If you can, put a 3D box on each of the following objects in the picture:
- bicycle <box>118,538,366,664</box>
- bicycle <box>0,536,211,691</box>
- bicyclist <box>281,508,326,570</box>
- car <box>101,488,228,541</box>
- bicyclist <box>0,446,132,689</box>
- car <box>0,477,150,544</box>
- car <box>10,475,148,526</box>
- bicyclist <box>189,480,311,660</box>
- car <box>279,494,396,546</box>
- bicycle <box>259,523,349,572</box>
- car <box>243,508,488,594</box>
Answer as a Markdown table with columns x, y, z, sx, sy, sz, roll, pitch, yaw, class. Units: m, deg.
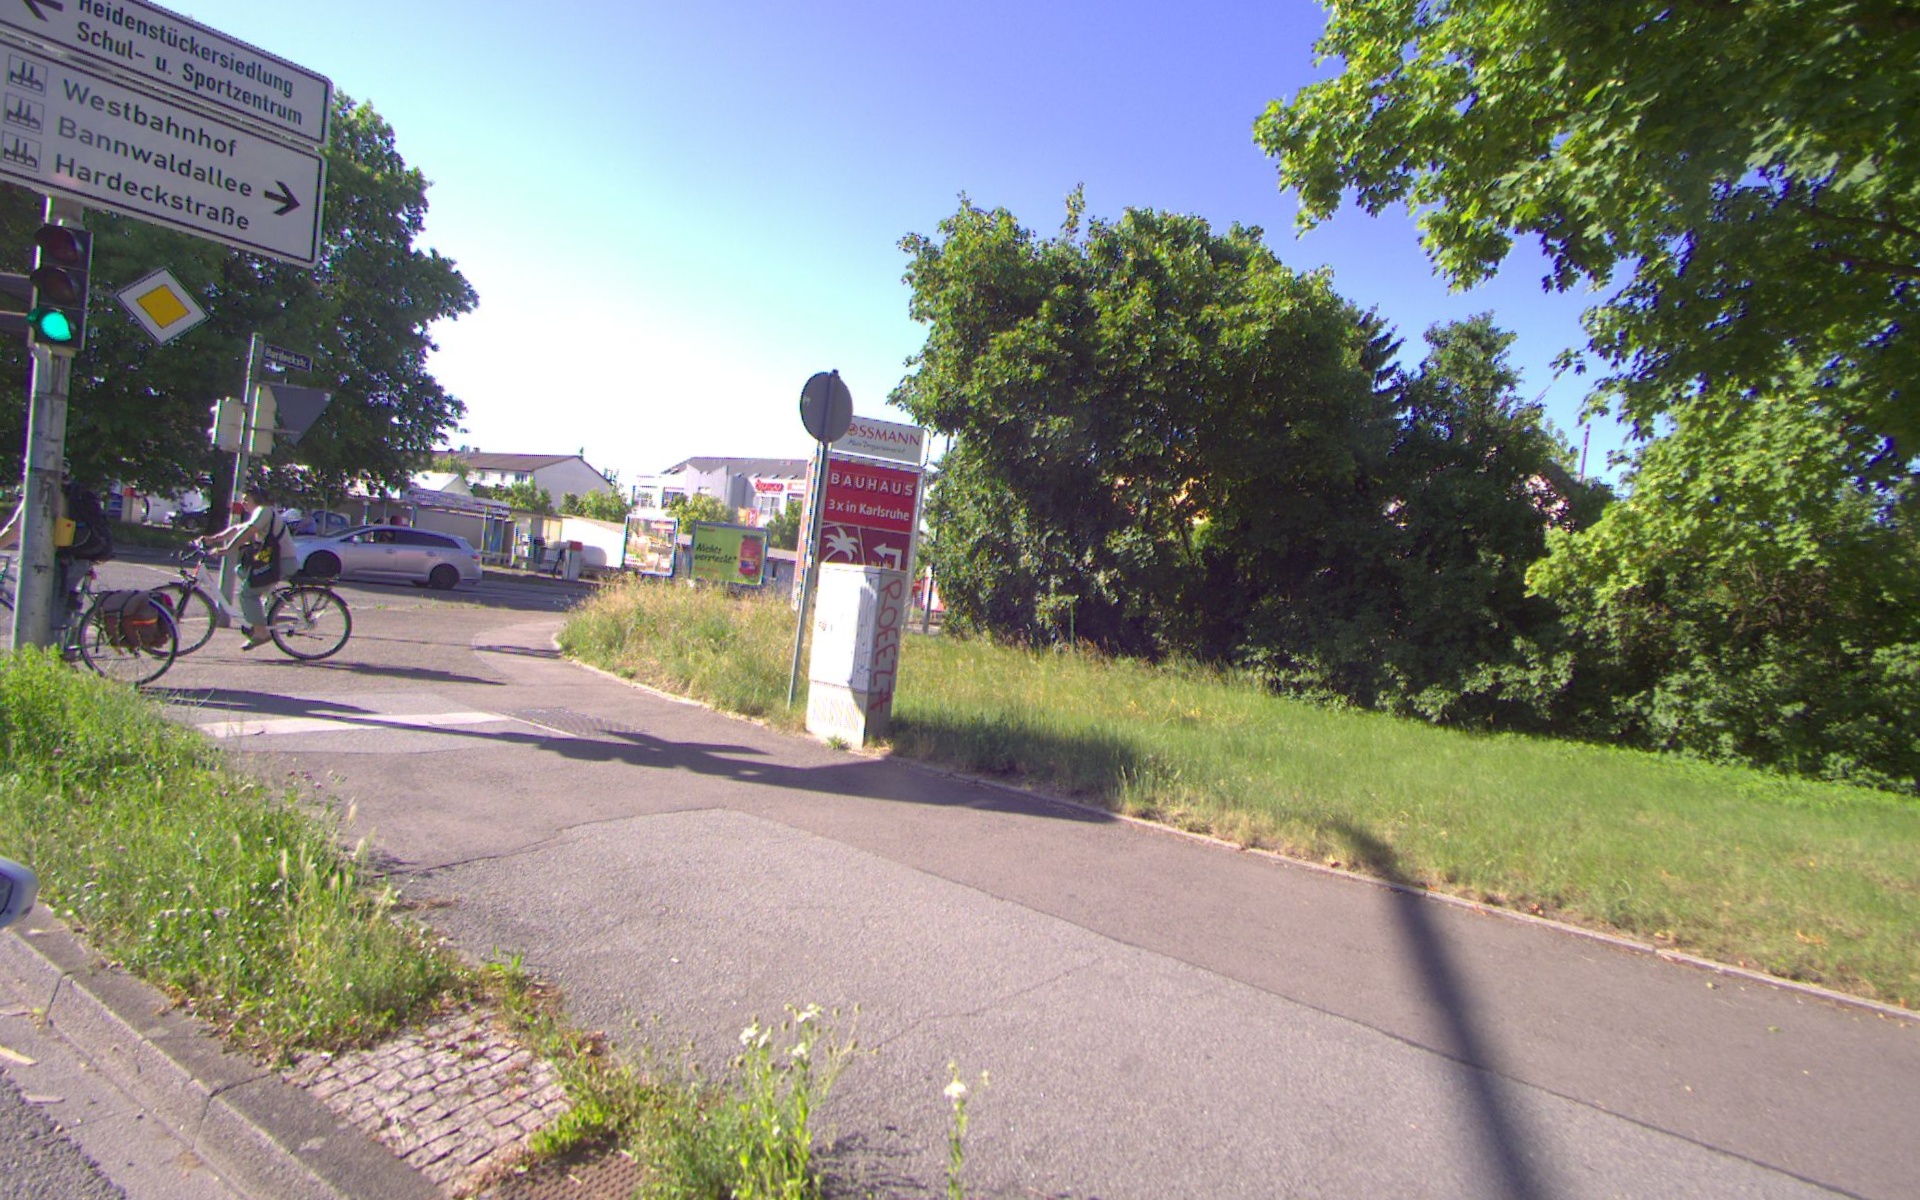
| x | y | z | sx | sy | sz | roll | pitch | yaw | class |
| --- | --- | --- | --- | --- | --- | --- | --- | --- | --- |
| -6.913 | 0.026 | 9.778 | 1.841 | 1.090 | 0.529 | 3 | 0 | -19 | bicycle |
| -6.850 | 0.092 | 7.562 | 1.841 | 1.090 | 0.529 | 3 | 0 | -19 | bicycle |
| -18.745 | -1.731 | 28.711 | 0.534 | 1.662 | 0.826 | 7 | 1 | 37 | bicyclist |
| -34.330 | -3.648 | 43.542 | 1.504 | 1.529 | 4.002 | 7 | -2 | 22 | car |
| -6.715 | -0.224 | 7.536 | 0.576 | 1.718 | 0.525 | 3 | 0 | -18 | bicyclist |
| -41.814 | -4.177 | 47.053 | 1.967 | 2.123 | 5.648 | 6 | -2 | 31 | car |
| -37.753 | -4.243 | 43.230 | 1.766 | 1.350 | 4.003 | 7 | -2 | 20 | car |
| -6.879 | -0.273 | 9.779 | 0.795 | 1.656 | 0.541 | 3 | 1 | -19 | bicyclist |
| -25.116 | -3.201 | 40.747 | 1.726 | 1.392 | 4.005 | 7 | -2 | 8 | car |
| -18.727 | -1.476 | 28.747 | 0.521 | 1.156 | 2.018 | 7 | 1 | 38 | bicycle |
| -14.577 | -1.170 | 24.895 | 1.818 | 1.507 | 4.862 | 6 | -1 | 43 | car |
